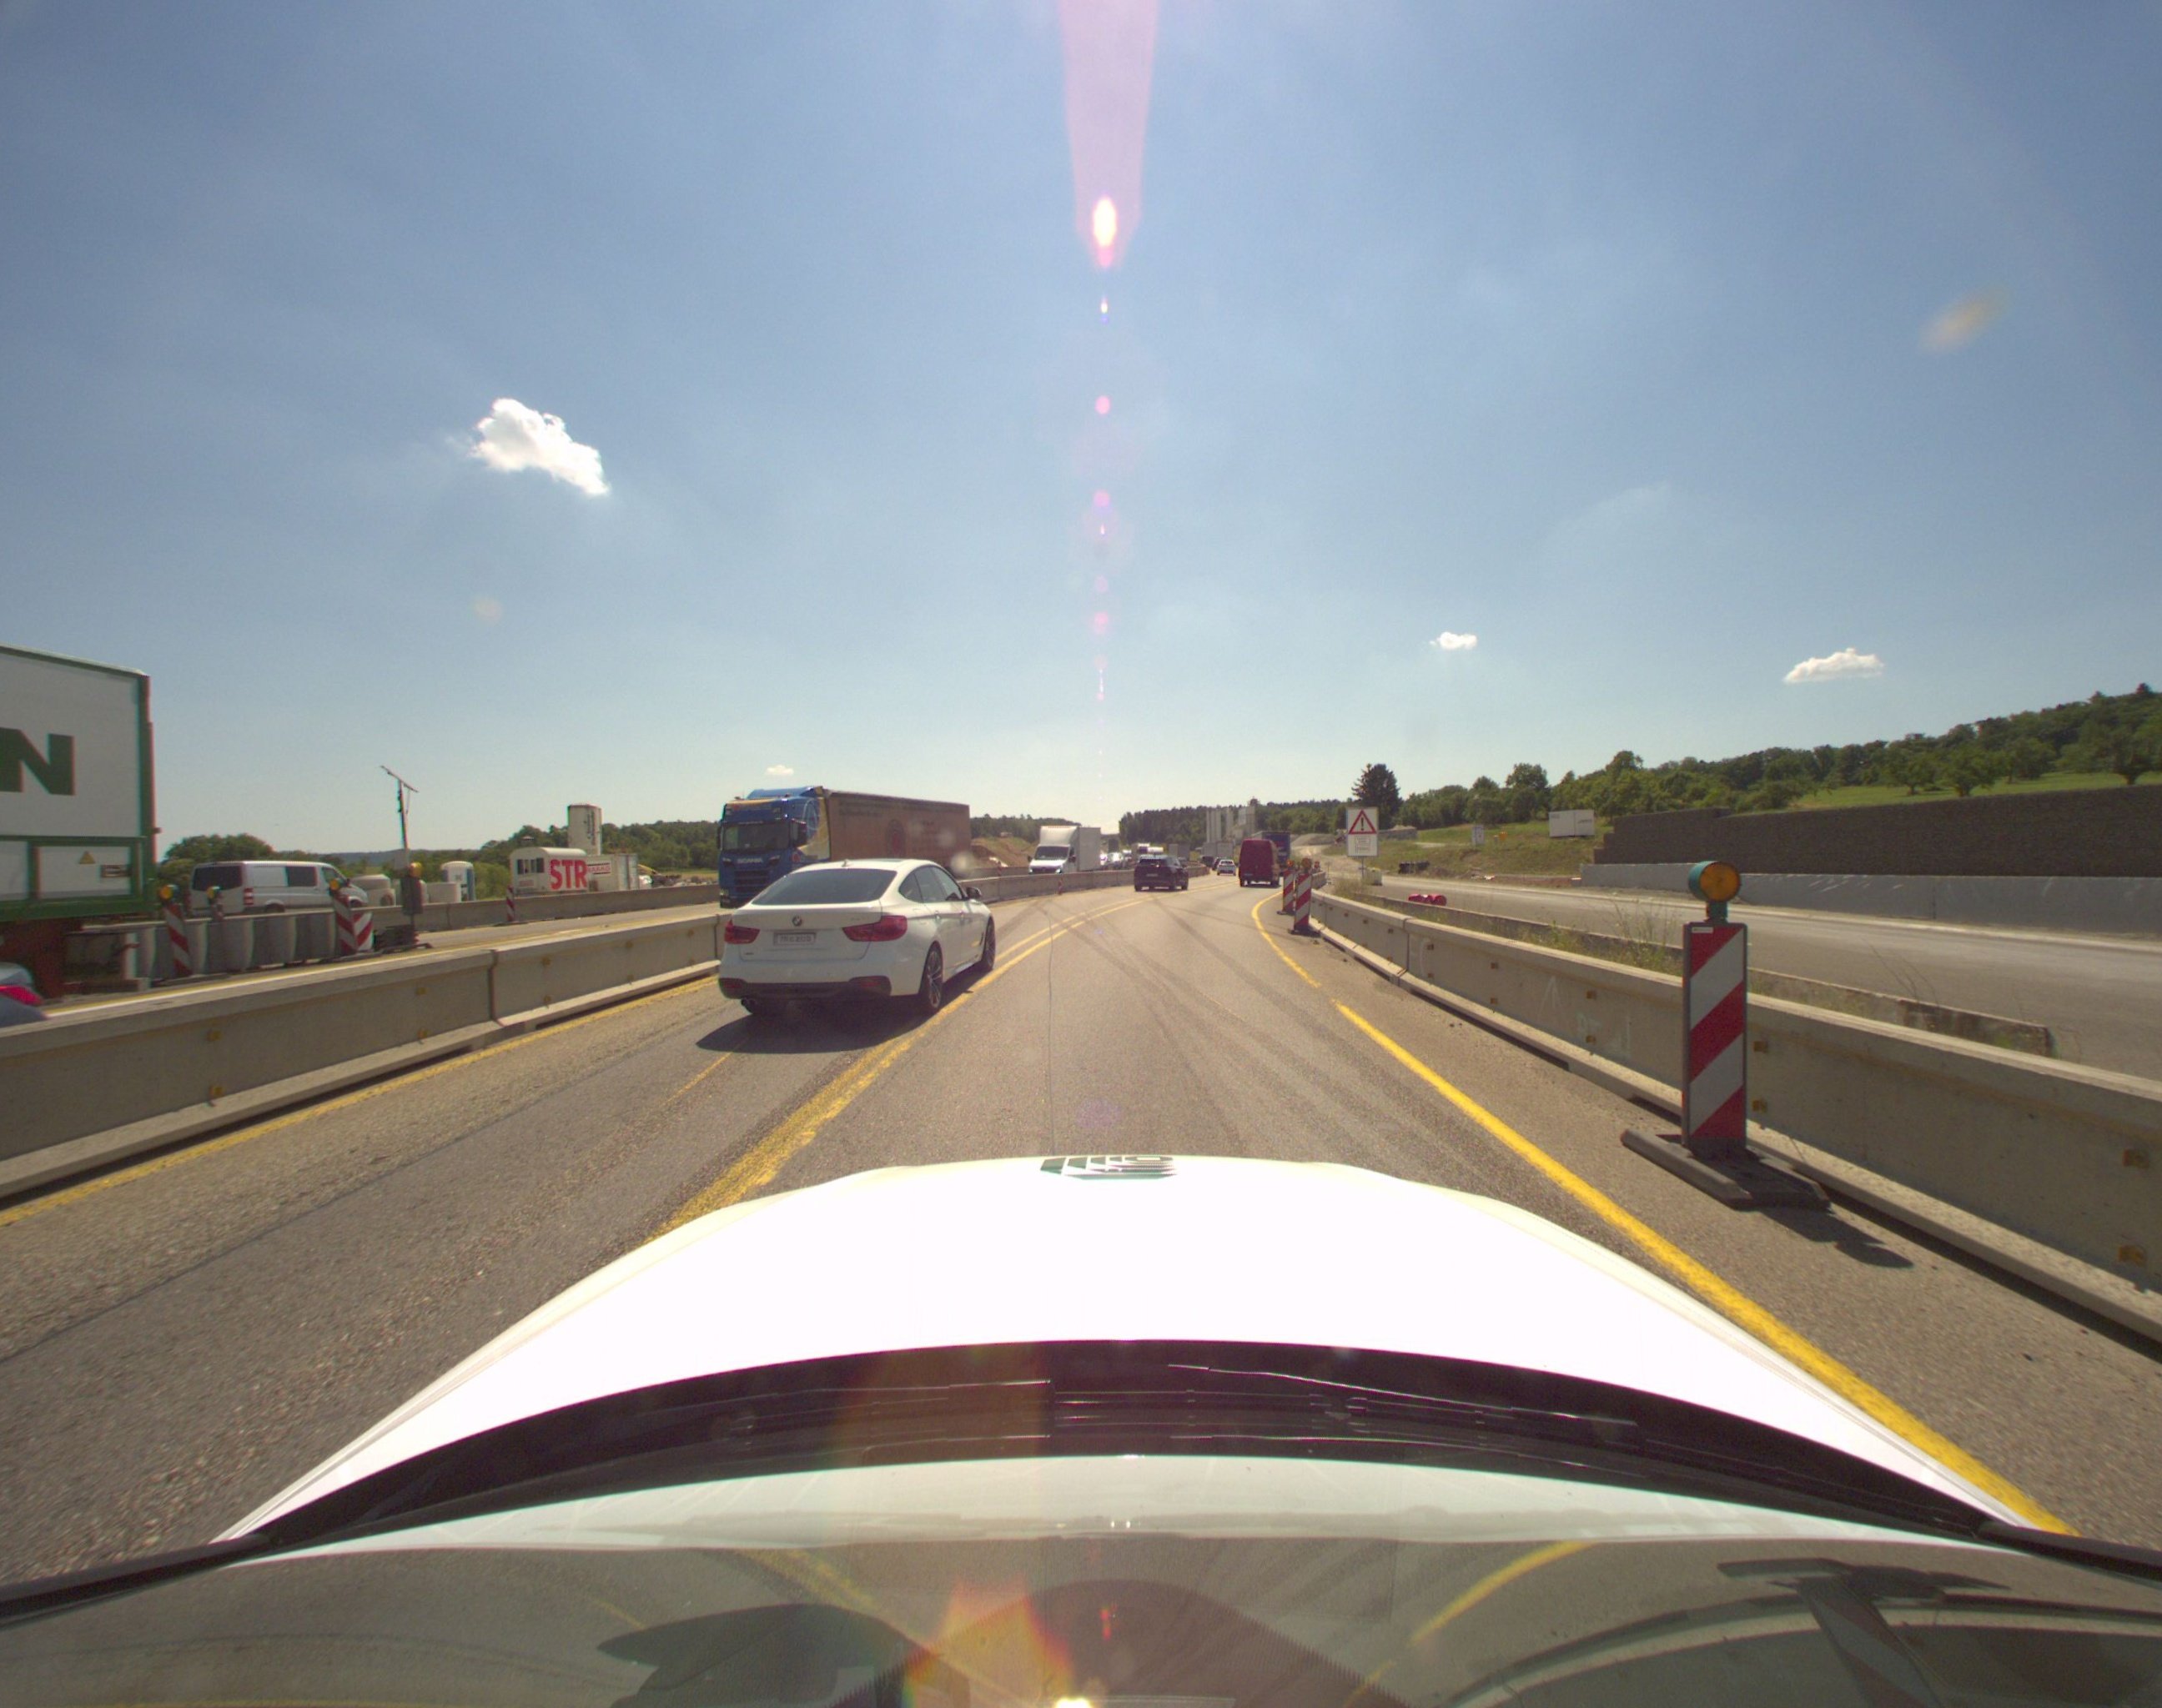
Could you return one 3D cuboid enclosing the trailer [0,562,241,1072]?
[{"bbox_3d":[-9.849,-0.307,2.287,2.347,4.152,12.489,-1,0,-2],"label":"trailer"}]

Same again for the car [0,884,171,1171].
[{"bbox_3d":[-6.554,0.931,2.796,1.748,1.478,4.536,-1,0,0],"label":"car"}]

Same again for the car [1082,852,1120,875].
[{"bbox_3d":[1.701,0.741,67.026,1.851,1.806,4.927,-2,-1,16],"label":"car"}]

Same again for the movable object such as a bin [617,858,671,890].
[{"bbox_3d":[-44.049,1.956,82.126,1.976,3.141,4.510,-1,0,23],"label":"movable object such as a bin"}]

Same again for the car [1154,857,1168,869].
[{"bbox_3d":[10.802,1.194,110.142,1.710,1.627,4.345,-1,0,8],"label":"car"}]

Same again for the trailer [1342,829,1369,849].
[{"bbox_3d":[58.971,-3.098,175.193,2.756,4.114,6.723,-1,0,-9],"label":"trailer"}]

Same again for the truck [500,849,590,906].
[{"bbox_3d":[-30.261,1.286,46.130,2.335,3.043,4.261,-1,0,-2],"label":"truck"}]

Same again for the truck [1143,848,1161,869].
[{"bbox_3d":[10.795,0.701,124.031,2.431,3.071,7.253,-1,0,3],"label":"truck"}]

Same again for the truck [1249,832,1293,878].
[{"bbox_3d":[18.160,0.067,78.267,3.001,4.153,8.284,-1,0,5],"label":"truck"}]

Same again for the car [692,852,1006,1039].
[{"bbox_3d":[-2.160,0.766,9.264,1.787,1.534,5.079,-1,0,4],"label":"car"}]

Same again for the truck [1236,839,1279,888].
[{"bbox_3d":[10.458,0.522,47.846,2.096,2.633,6.510,-1,0,15],"label":"truck"}]

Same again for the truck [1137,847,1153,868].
[{"bbox_3d":[12.267,0.662,155.178,2.687,4.062,5.512,-1,0,7],"label":"truck"}]

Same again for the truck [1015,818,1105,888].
[{"bbox_3d":[-0.960,-0.046,43.317,2.558,3.381,6.959,-1,0,18],"label":"truck"}]

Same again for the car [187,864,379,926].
[{"bbox_3d":[-29.243,1.428,30.157,2.200,2.016,5.105,-1,0,-3],"label":"car"}]

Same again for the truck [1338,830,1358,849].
[{"bbox_3d":[58.448,-3.069,178.320,2.745,4.096,4.086,-1,0,-10],"label":"truck"}]

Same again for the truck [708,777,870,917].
[{"bbox_3d":[-9.350,-0.192,26.789,2.528,4.081,5.561,-1,0,10],"label":"truck"}]

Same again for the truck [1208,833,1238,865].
[{"bbox_3d":[22.128,-0.750,127.336,3.667,4.691,9.763,-1,0,4],"label":"truck"}]

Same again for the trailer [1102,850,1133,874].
[{"bbox_3d":[3.321,0.695,73.101,1.852,2.022,4.453,-1,0,15],"label":"trailer"}]

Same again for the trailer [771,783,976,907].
[{"bbox_3d":[-7.871,-0.287,33.959,2.569,4.152,13.110,-1,0,13],"label":"trailer"}]

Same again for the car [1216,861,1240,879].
[{"bbox_3d":[13.483,1.431,74.811,1.793,1.579,4.005,-1,0,5],"label":"car"}]

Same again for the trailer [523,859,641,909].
[{"bbox_3d":[-31.136,1.836,51.010,5.550,2.997,2.881,-1,0,-3],"label":"trailer"}]

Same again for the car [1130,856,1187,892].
[{"bbox_3d":[3.599,0.869,37.017,1.781,1.534,3.949,-1,0,17],"label":"car"}]

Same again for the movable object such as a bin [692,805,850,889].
[{"bbox_3d":[-17.581,-0.354,47.172,2.898,4.329,9.375,-1,0,22],"label":"movable object such as a bin"}]

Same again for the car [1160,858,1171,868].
[{"bbox_3d":[15.282,1.600,147.283,1.651,1.605,4.406,-1,0,8],"label":"car"}]
